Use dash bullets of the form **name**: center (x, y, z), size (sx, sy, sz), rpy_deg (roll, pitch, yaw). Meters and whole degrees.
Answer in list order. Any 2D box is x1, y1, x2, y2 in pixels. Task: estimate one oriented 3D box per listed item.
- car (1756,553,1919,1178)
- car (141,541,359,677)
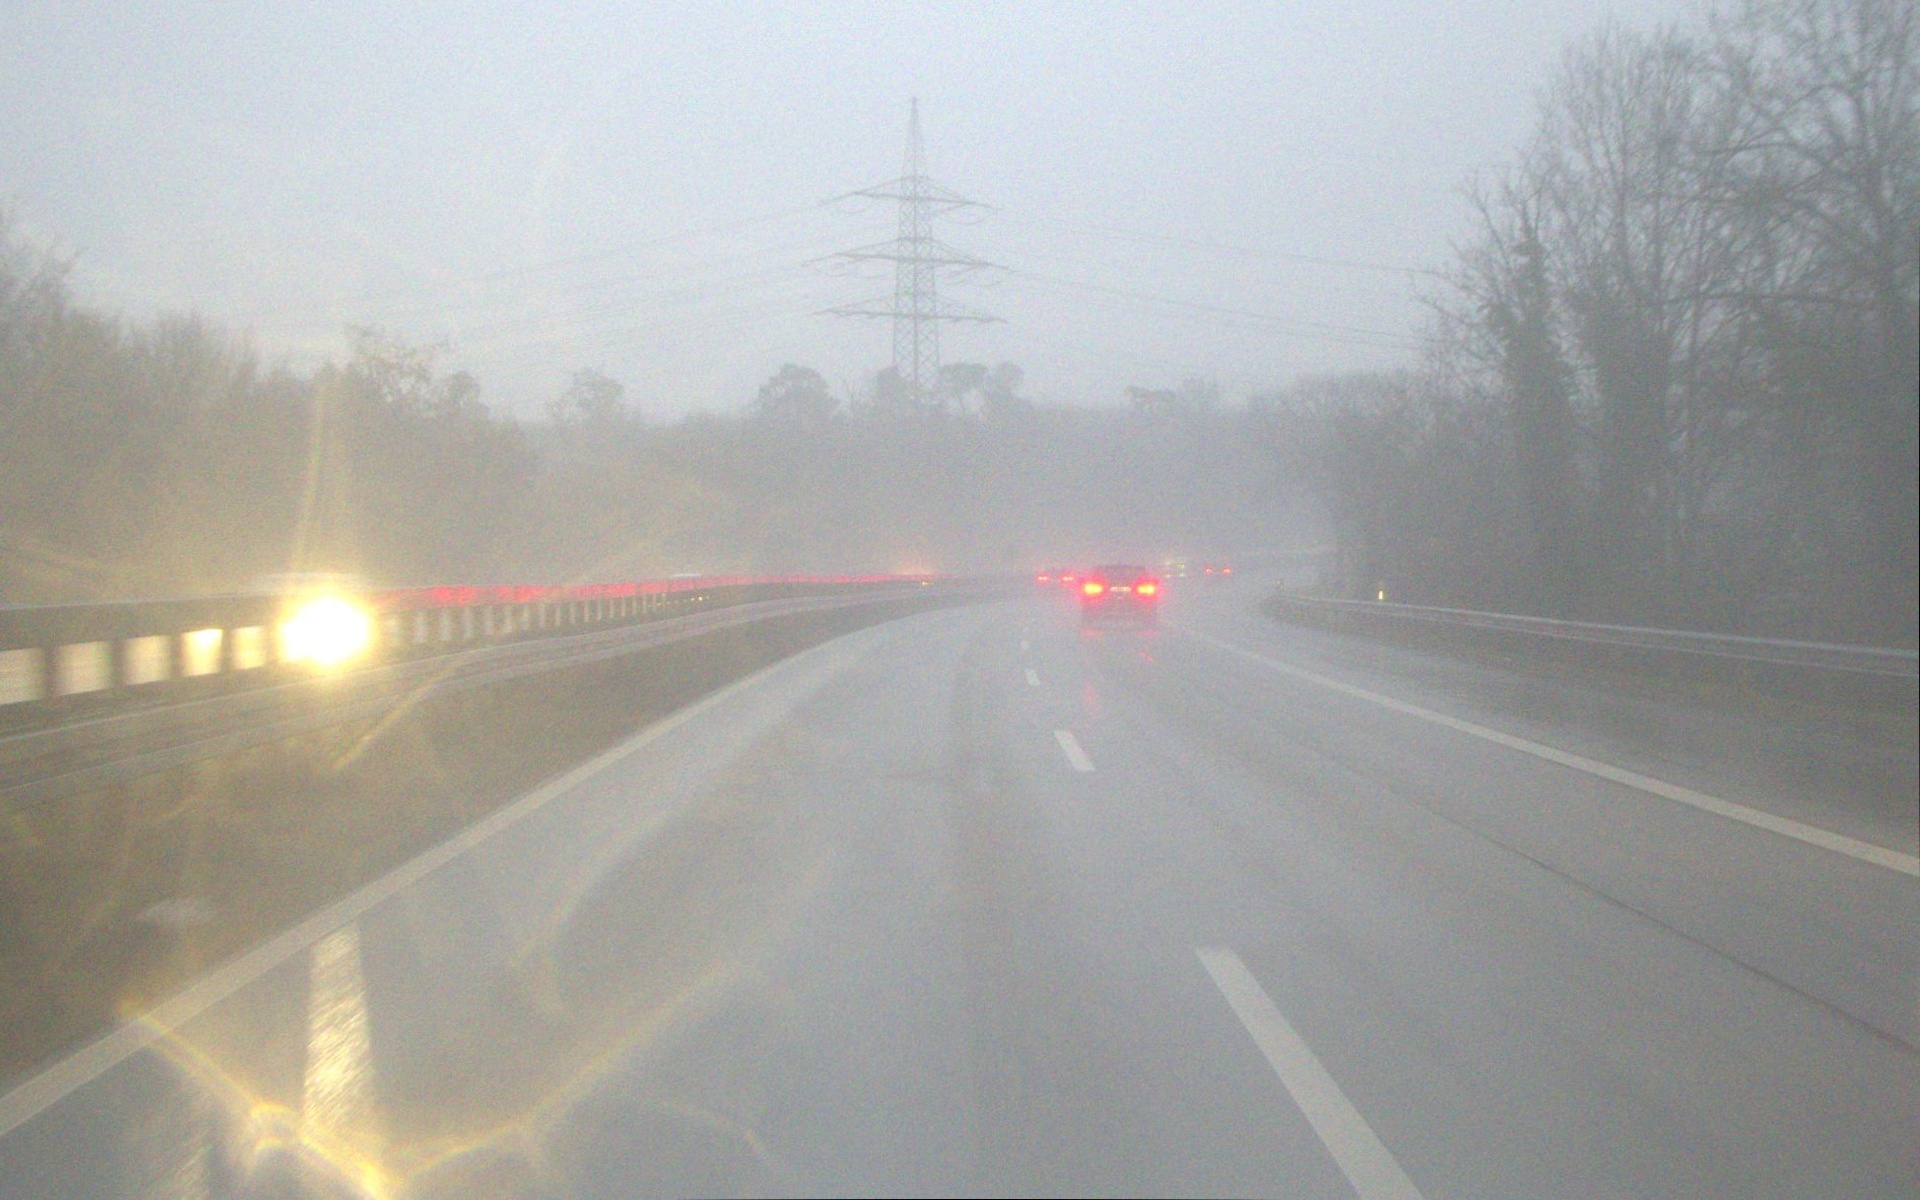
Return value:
- **car**: center (3.222, 0.649, 7.891), size (1.797, 1.497, 4.000), rpy_deg (-1, 1, -1)
- **car**: center (-8.015, 0.071, 39.146), size (1.608, 1.469, 4.177), rpy_deg (0, 1, 0)
